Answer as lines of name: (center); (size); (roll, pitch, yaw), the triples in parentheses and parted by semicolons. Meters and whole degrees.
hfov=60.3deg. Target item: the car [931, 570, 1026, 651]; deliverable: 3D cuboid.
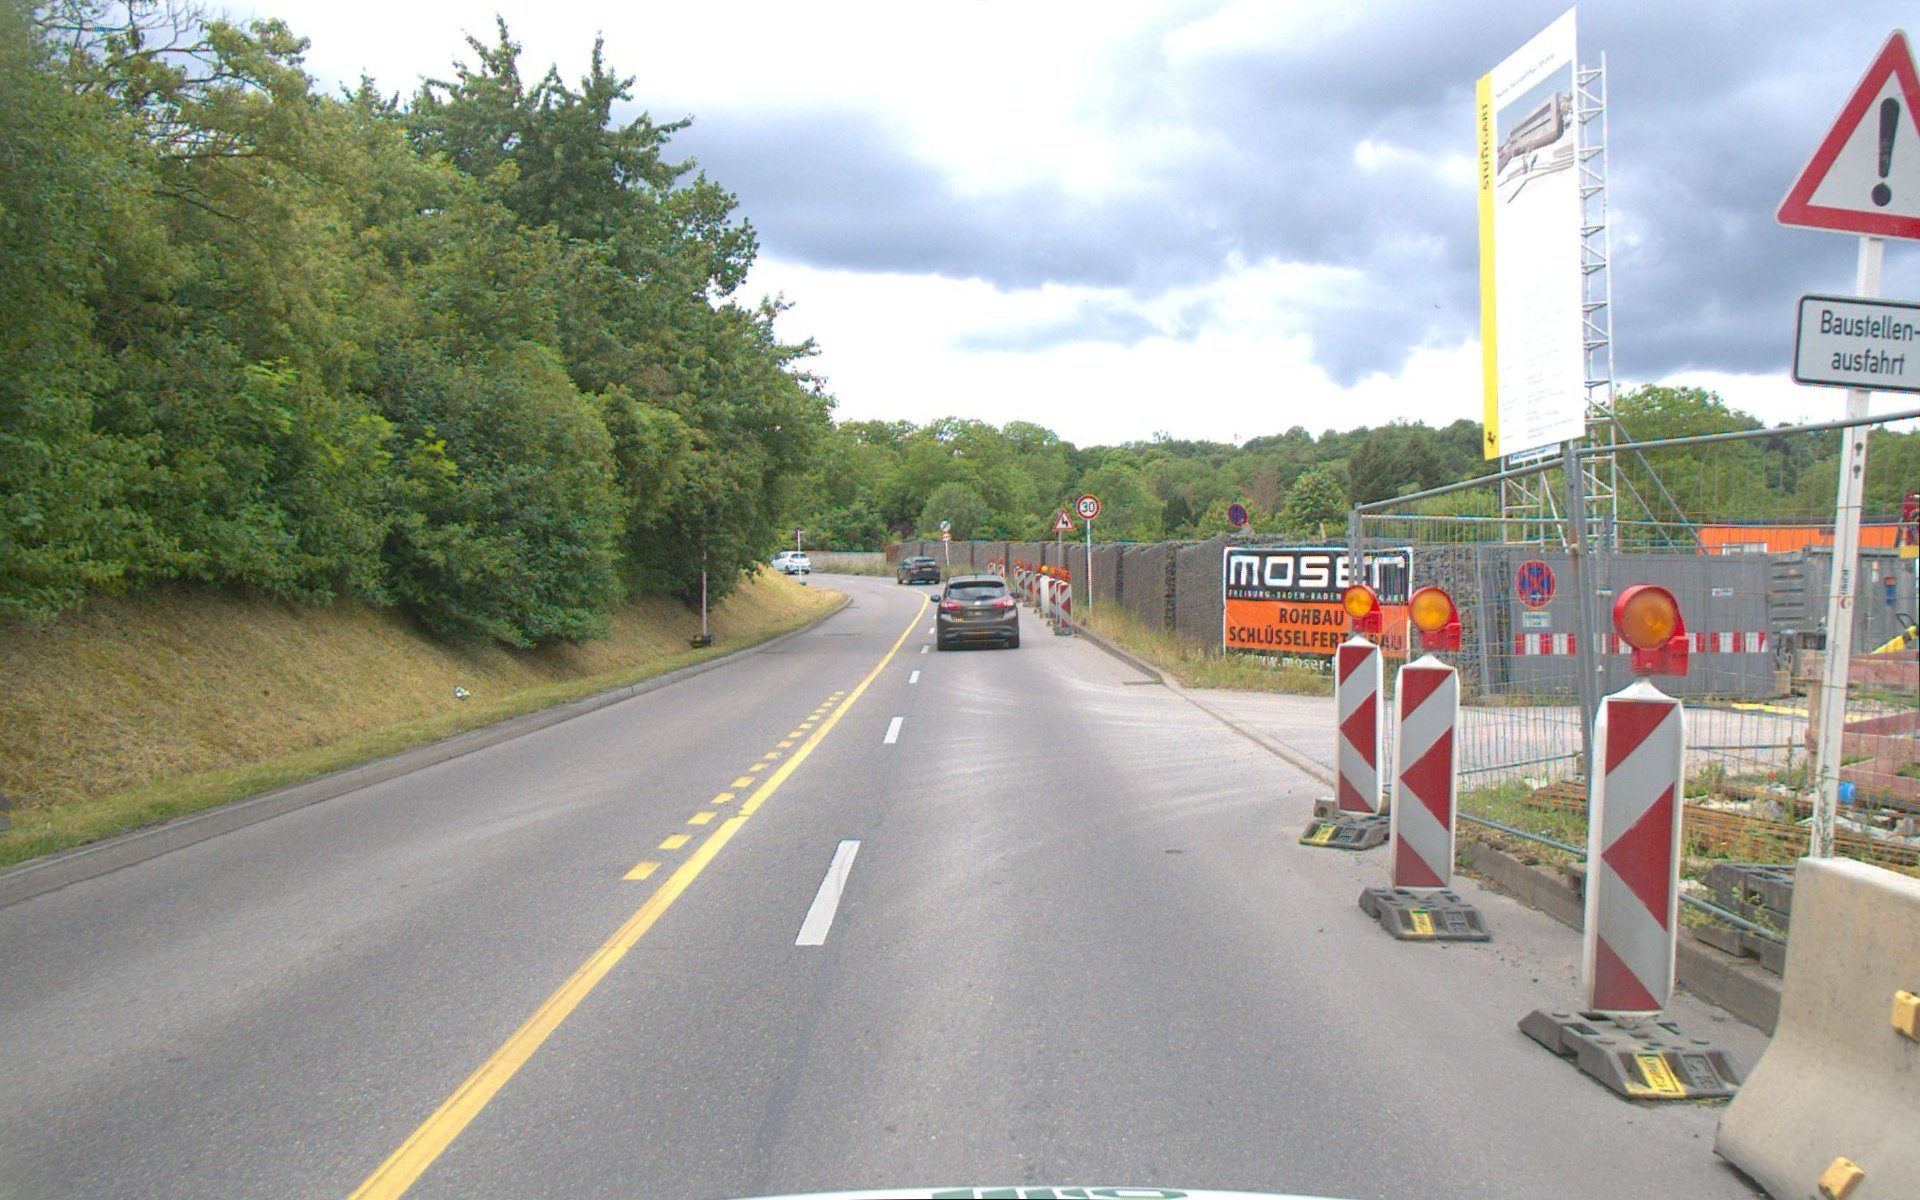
car: (0.348, 0.174, 35.908); (1.803, 1.509, 3.999); (-3, 2, -2)

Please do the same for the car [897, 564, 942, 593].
car: (-2.186, -1.140, 88.639); (1.748, 1.478, 3.847); (1, -1, -12)

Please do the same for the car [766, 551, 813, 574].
car: (-11.476, -2.538, 111.325); (1.812, 1.464, 3.883); (-1, 3, -28)
